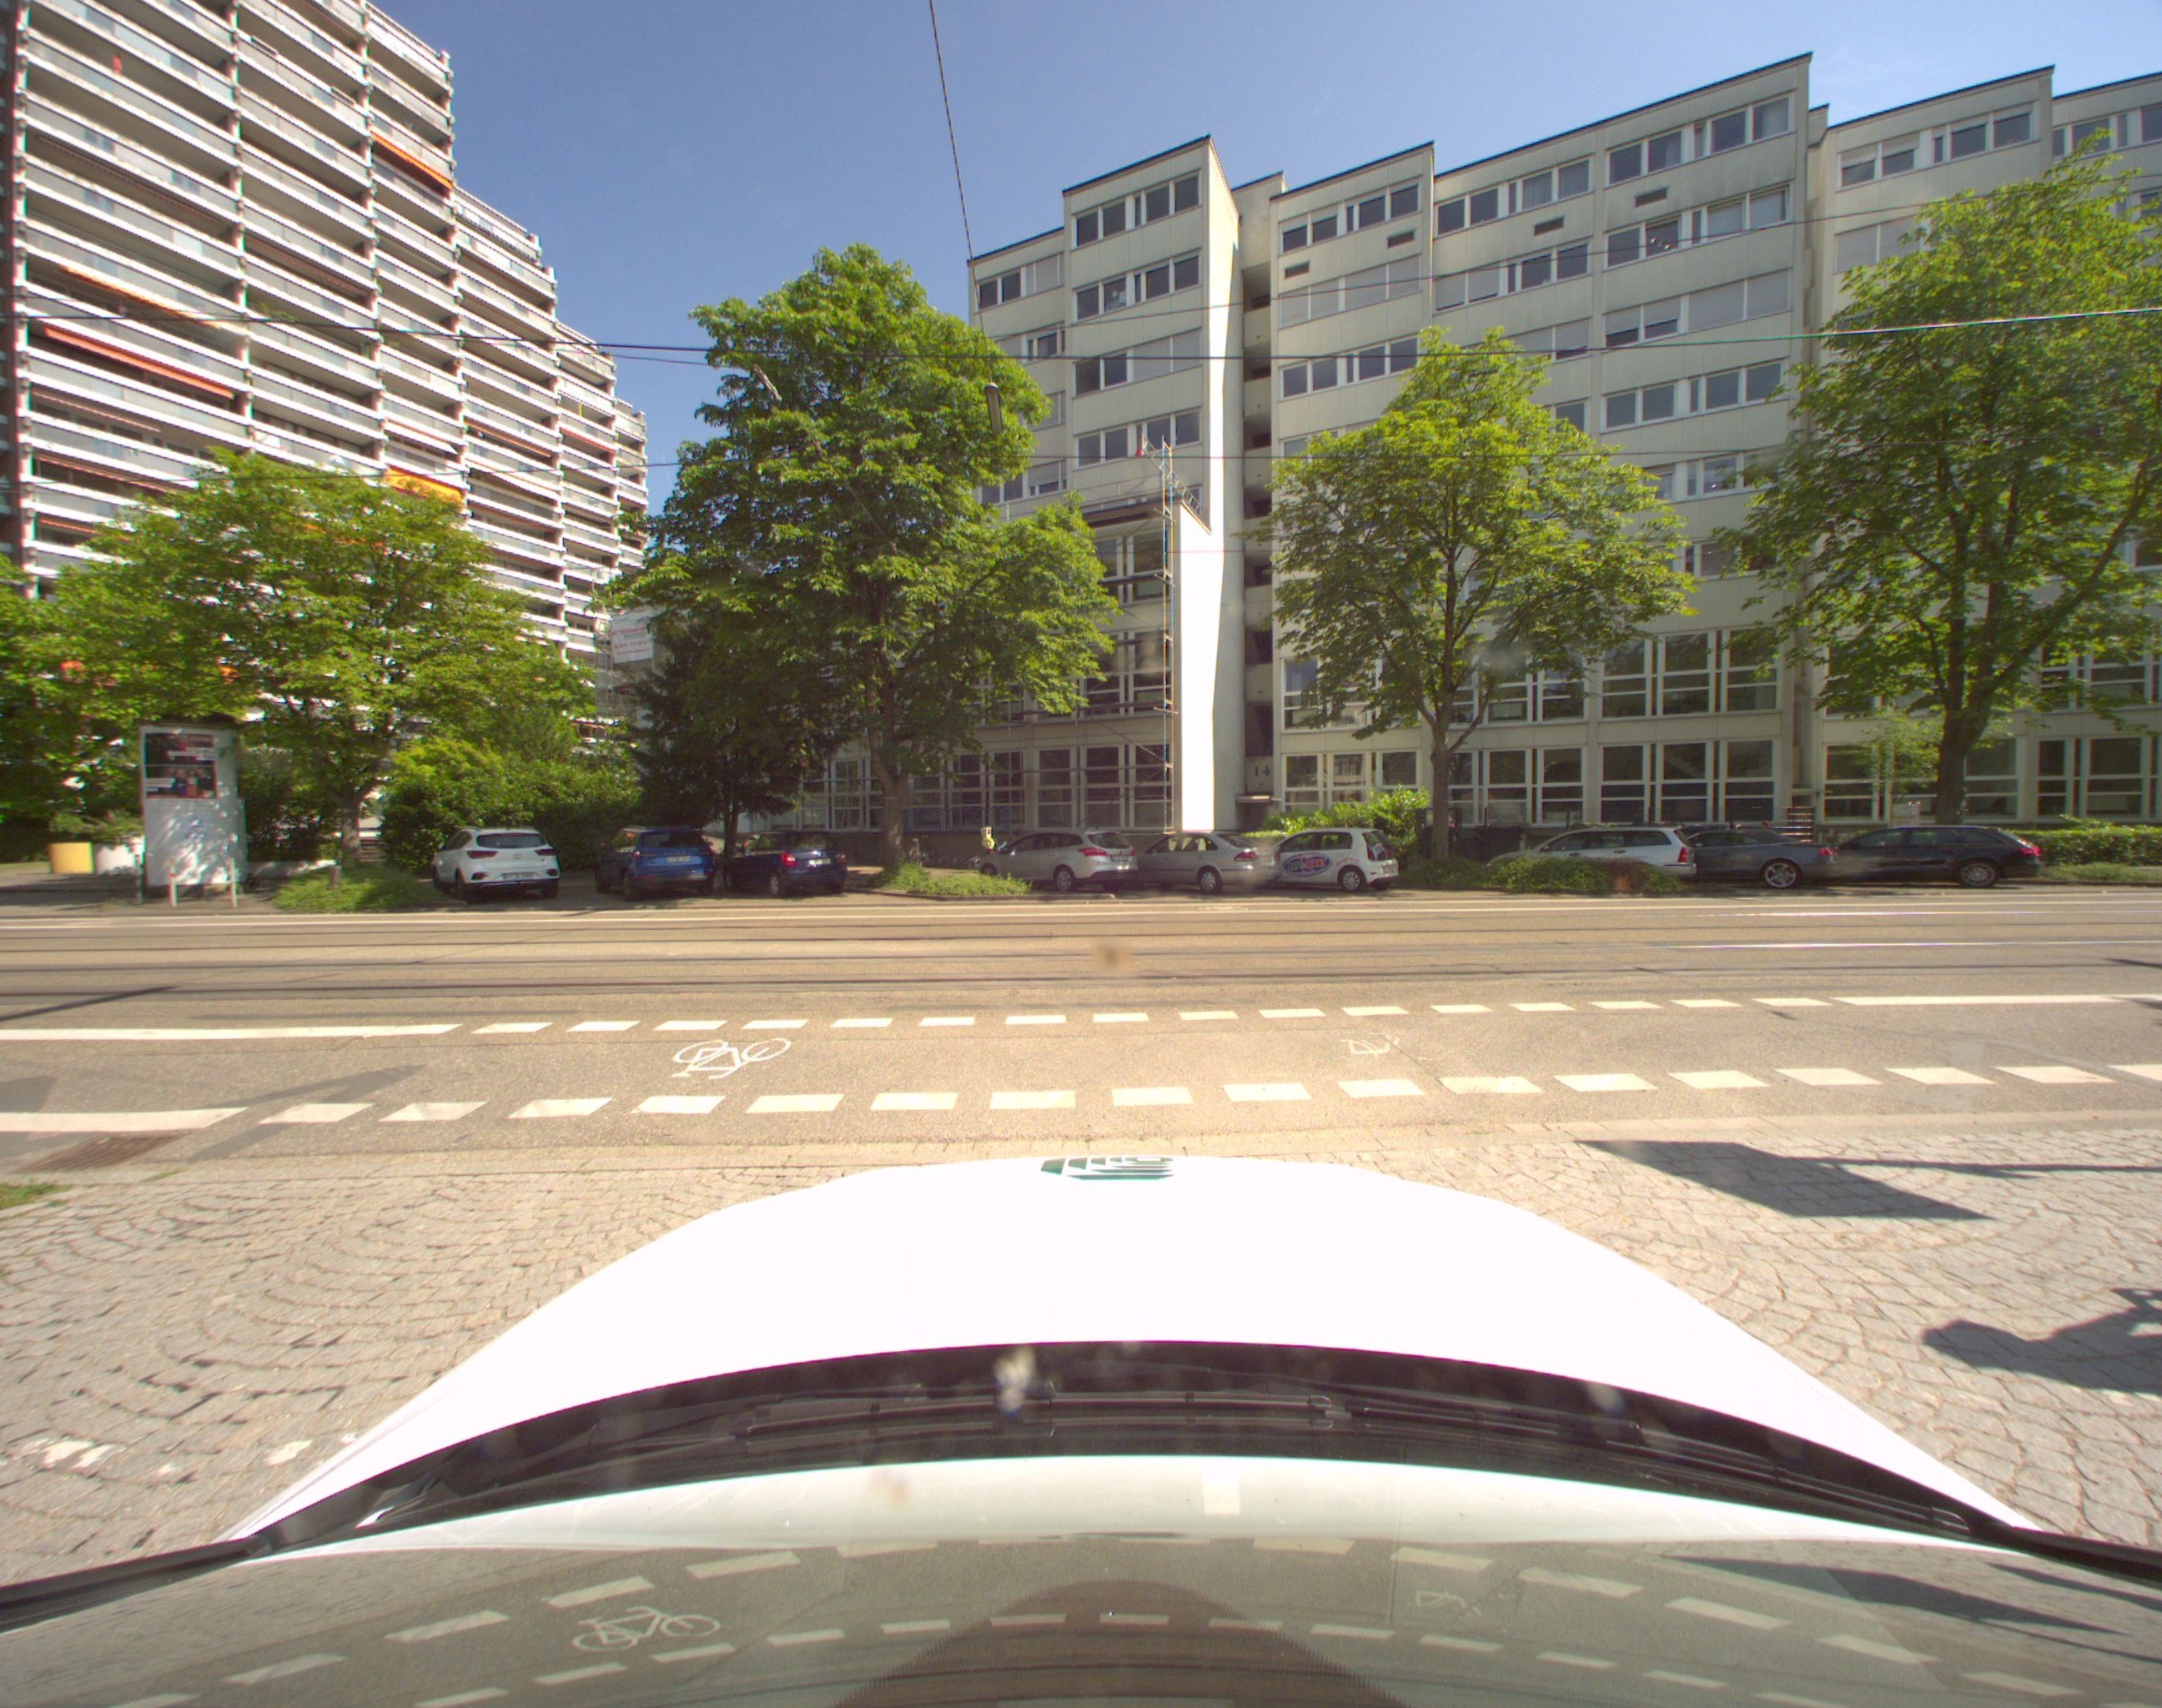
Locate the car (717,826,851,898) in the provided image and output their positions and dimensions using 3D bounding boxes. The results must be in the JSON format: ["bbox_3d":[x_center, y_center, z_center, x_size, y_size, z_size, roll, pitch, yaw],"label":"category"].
[{"bbox_3d":[-6.967,0.125,18.971,3.415,1.530,1.586,1,2,44],"label":"car"}]

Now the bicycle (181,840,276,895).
[{"bbox_3d":[-20.980,0.321,20.064,1.614,1.308,0.546,-1,1,-7],"label":"bicycle"}]

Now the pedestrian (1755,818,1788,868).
[{"bbox_3d":[20.169,-0.327,23.799,0.618,1.460,0.424,-1,2,-4],"label":"pedestrian"}]

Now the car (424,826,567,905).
[{"bbox_3d":[-13.450,0.193,18.629,3.895,1.606,1.831,1,2,42],"label":"car"}]

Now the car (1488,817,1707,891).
[{"bbox_3d":[12.405,-0.040,19.741,4.289,1.604,1.568,1,1,41],"label":"car"}]

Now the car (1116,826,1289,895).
[{"bbox_3d":[2.802,0.086,19.390,1.622,1.486,3.897,-2,2,-44],"label":"car"}]

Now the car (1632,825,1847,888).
[{"bbox_3d":[15.686,0.013,19.523,3.896,1.357,1.568,1,2,44],"label":"car"}]

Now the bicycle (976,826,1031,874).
[{"bbox_3d":[-2.461,-0.163,26.099,0.655,1.453,2.104,0,2,30],"label":"bicycle"}]

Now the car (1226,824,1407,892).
[{"bbox_3d":[5.603,0.072,19.674,1.623,1.486,3.896,-2,2,-45],"label":"car"}]

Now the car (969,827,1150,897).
[{"bbox_3d":[-0.606,0.111,19.586,4.380,1.486,1.795,1,2,44],"label":"car"}]

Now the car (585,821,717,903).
[{"bbox_3d":[-10.041,0.087,18.887,1.790,1.622,3.899,-3,5,-42],"label":"car"}]

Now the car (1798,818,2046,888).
[{"bbox_3d":[19.430,-0.077,19.055,3.896,1.486,1.568,1,2,44],"label":"car"}]

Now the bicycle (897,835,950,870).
[{"bbox_3d":[-5.188,-0.058,26.964,0.735,1.085,2.214,0,2,18],"label":"bicycle"}]
